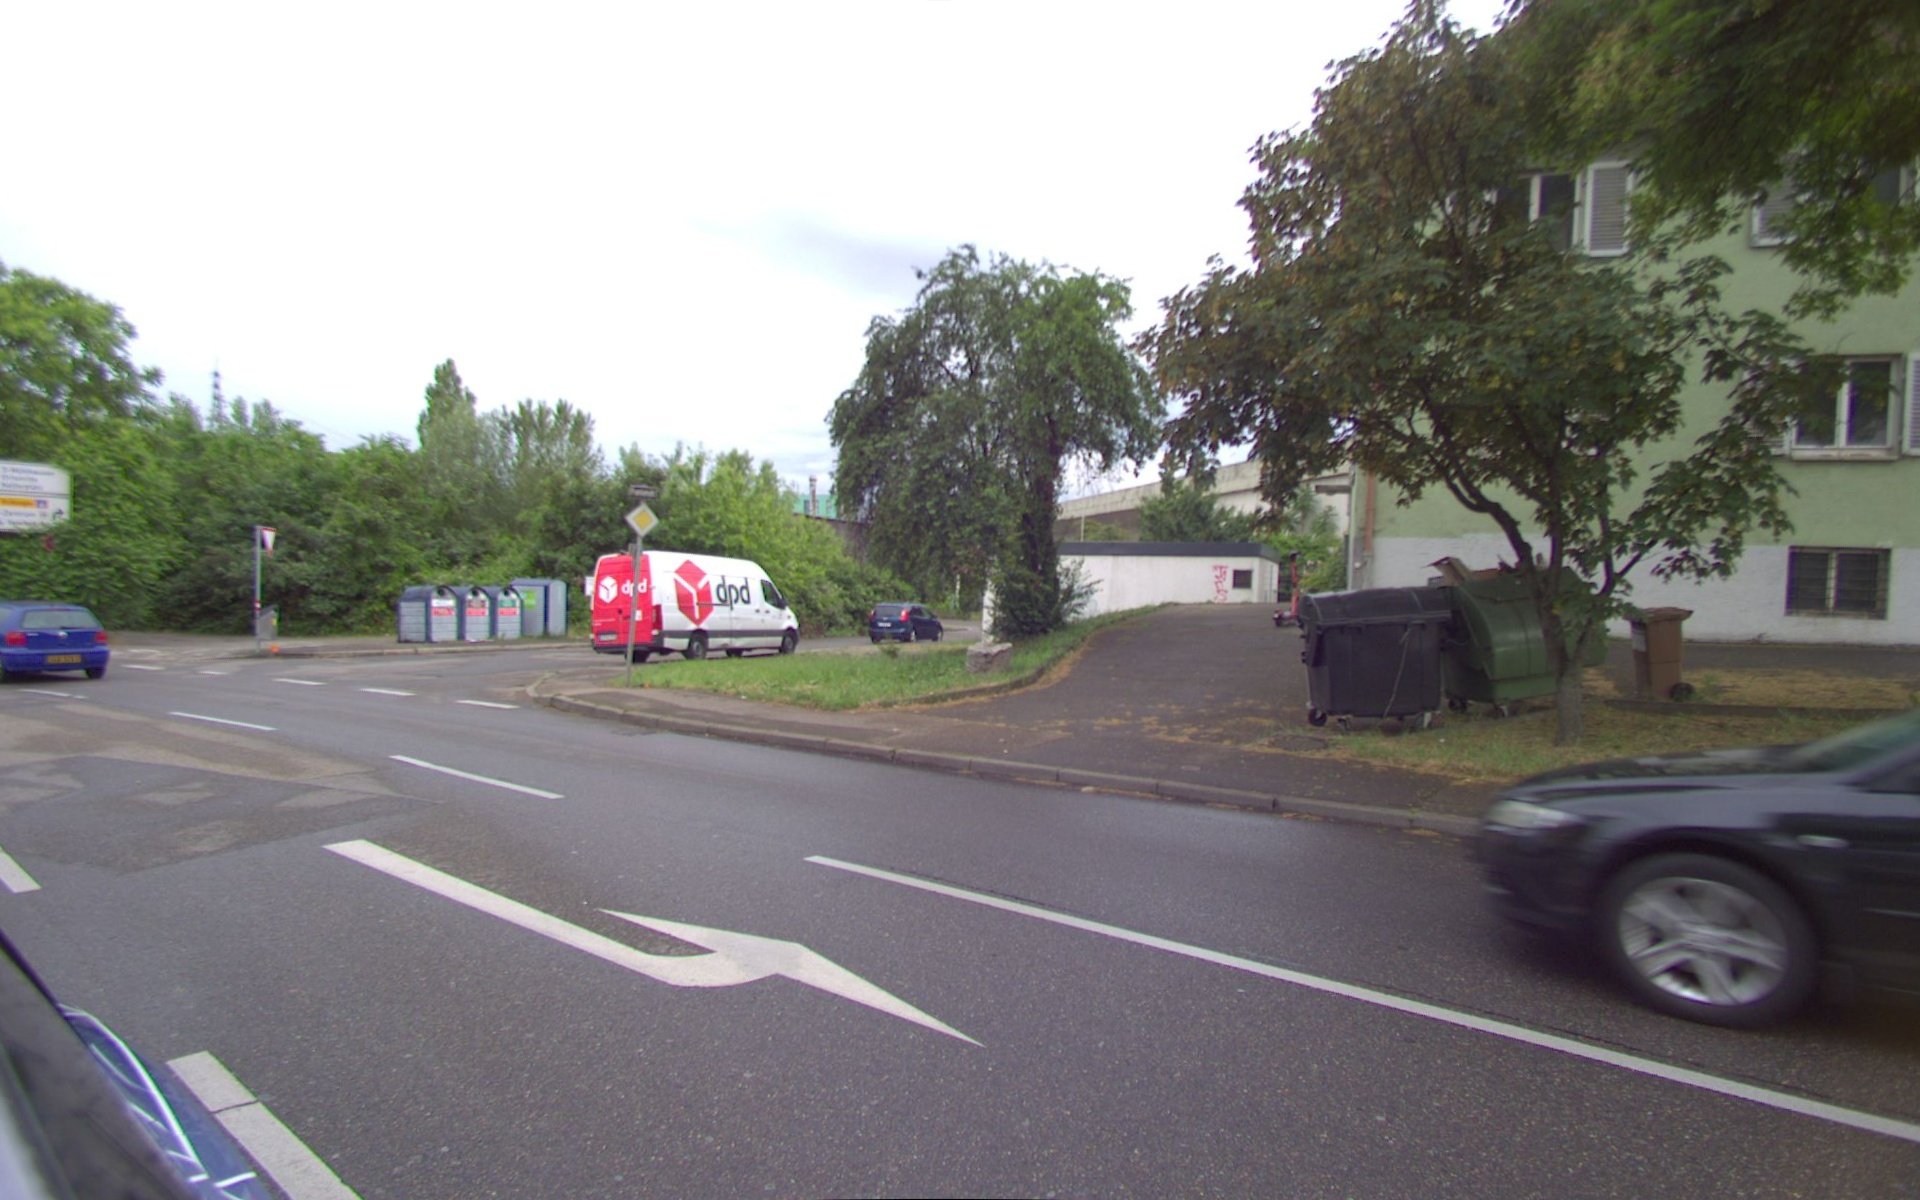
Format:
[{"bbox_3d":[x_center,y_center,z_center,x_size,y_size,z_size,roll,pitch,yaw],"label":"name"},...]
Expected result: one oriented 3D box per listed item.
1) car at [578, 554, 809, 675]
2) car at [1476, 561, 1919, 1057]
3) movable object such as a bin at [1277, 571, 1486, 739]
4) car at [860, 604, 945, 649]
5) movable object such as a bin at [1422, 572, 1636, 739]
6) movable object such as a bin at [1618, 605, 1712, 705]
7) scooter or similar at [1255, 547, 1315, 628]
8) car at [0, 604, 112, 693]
[{"bbox_3d":[-6.510,0.303,25.920,2.246,2.675,6.777,1,0,20],"label":"car"},{"bbox_3d":[4.331,0.667,3.297,4.412,1.581,1.822,0,-1,43],"label":"car"},{"bbox_3d":[4.251,0.506,10.343,1.440,1.448,1.296,-5,3,-6],"label":"movable object such as a bin"},{"bbox_3d":[-2.231,0.999,40.411,1.984,1.642,4.228,1,1,18],"label":"car"},{"bbox_3d":[5.707,0.515,10.235,1.440,1.448,1.102,-5,3,-6],"label":"movable object such as a bin"},{"bbox_3d":[7.208,0.538,10.349,0.723,0.964,0.551,1,0,41],"label":"movable object such as a bin"},{"bbox_3d":[5.526,-0.237,17.149,0.529,1.283,1.507,1,4,35],"label":"scooter or similar"},{"bbox_3d":[-17.411,0.819,18.572,3.680,1.436,1.588,1,0,28],"label":"car"}]
